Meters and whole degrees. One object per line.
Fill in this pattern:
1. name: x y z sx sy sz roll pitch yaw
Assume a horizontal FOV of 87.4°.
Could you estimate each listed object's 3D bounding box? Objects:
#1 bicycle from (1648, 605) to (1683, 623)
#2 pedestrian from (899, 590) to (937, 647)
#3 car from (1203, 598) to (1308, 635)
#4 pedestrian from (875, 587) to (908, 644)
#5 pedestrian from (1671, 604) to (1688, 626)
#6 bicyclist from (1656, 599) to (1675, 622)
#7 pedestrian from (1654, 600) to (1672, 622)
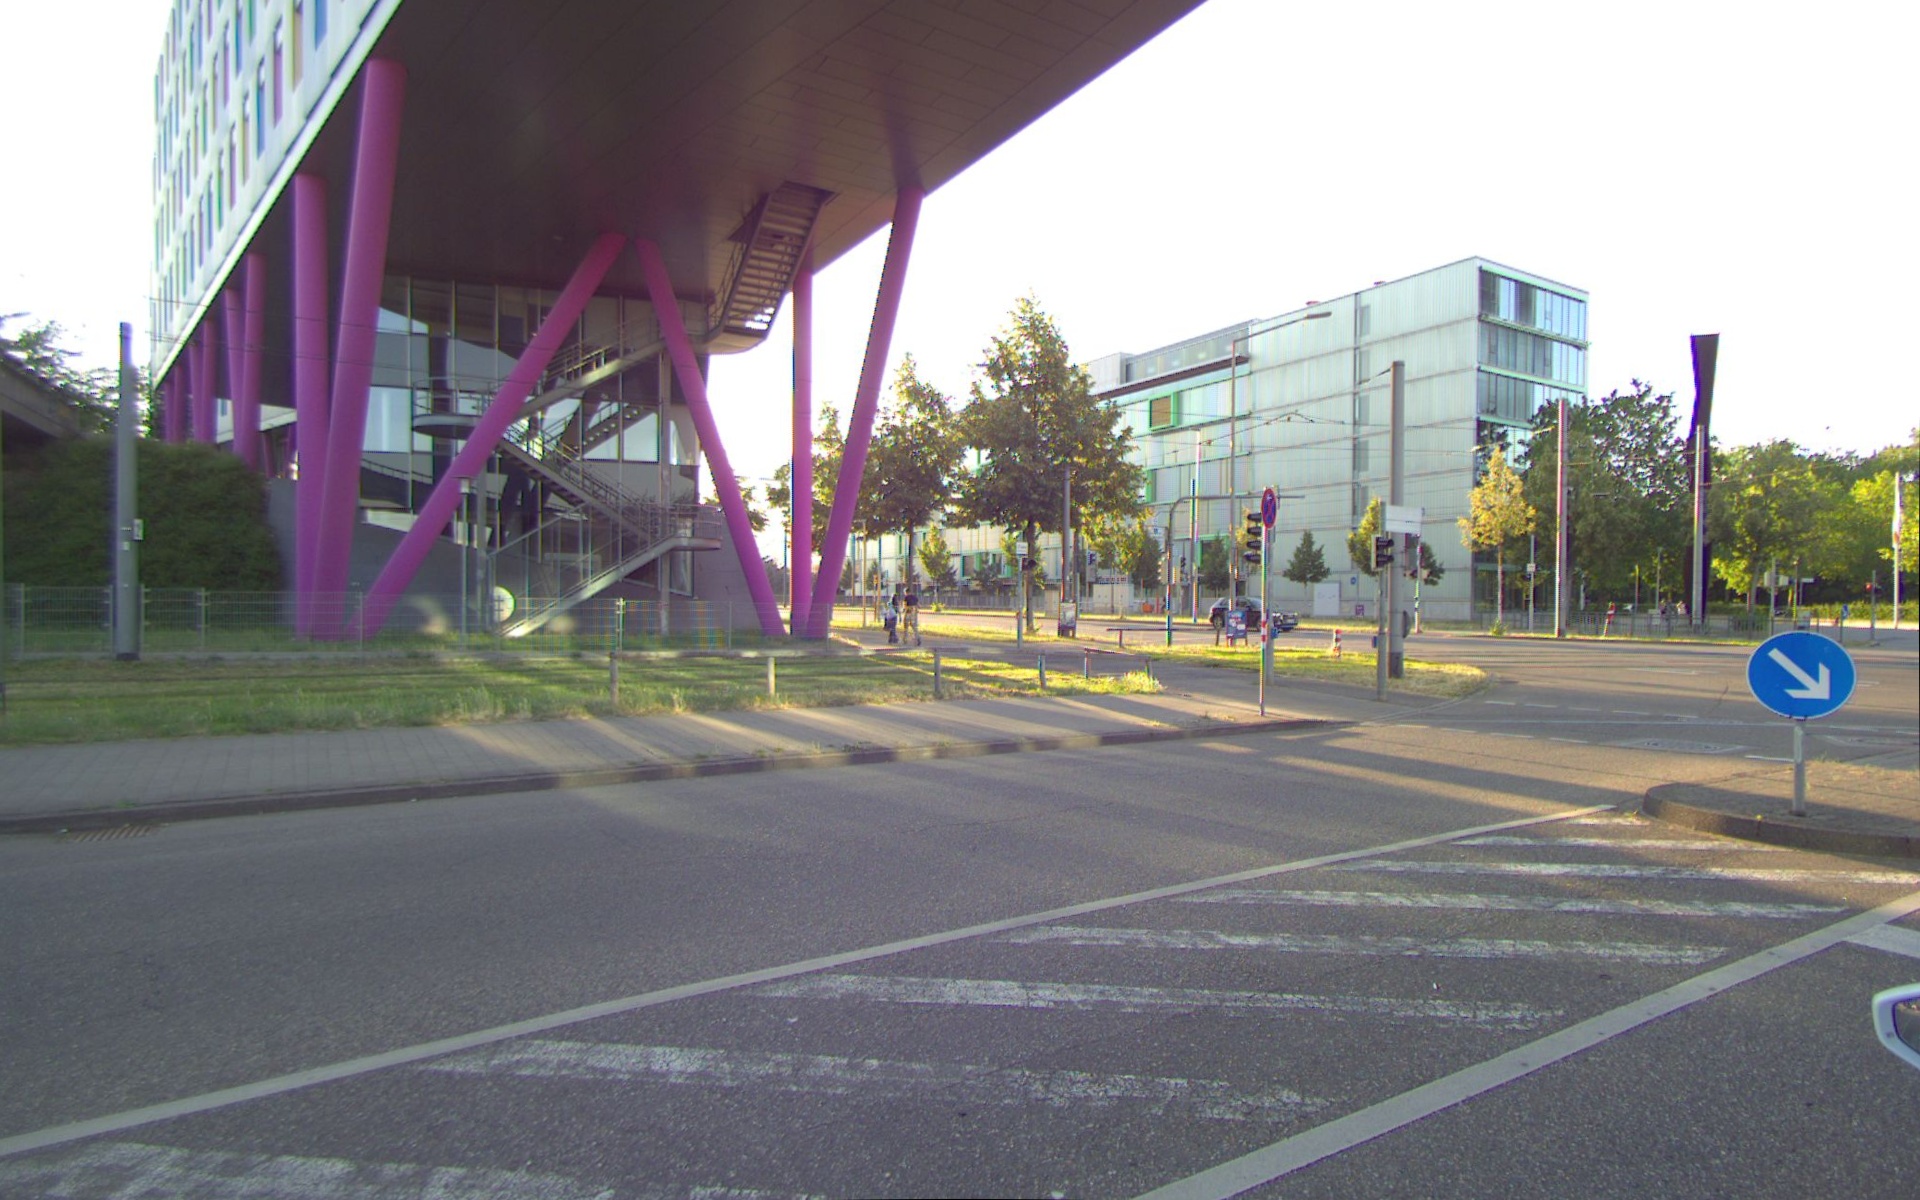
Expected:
1. bicycle: 53.920 1.053 76.839 0.718 1.359 2.690 1 0 -1
2. pedestrian: -1.330 0.582 31.494 0.920 1.747 0.878 0 -2 -25
3. car: 13.573 0.740 46.399 1.968 1.577 4.448 1 0 -34
4. pedestrian: -2.125 0.496 31.217 0.754 1.727 0.882 0 -2 -25
5. pedestrian: 59.023 1.215 82.425 0.813 1.767 0.863 1 0 4
6. bicyclist: 53.919 0.831 76.780 0.738 1.732 0.920 1 0 3
7. pedestrian: 57.579 0.902 82.321 0.815 1.767 0.861 1 0 -11
